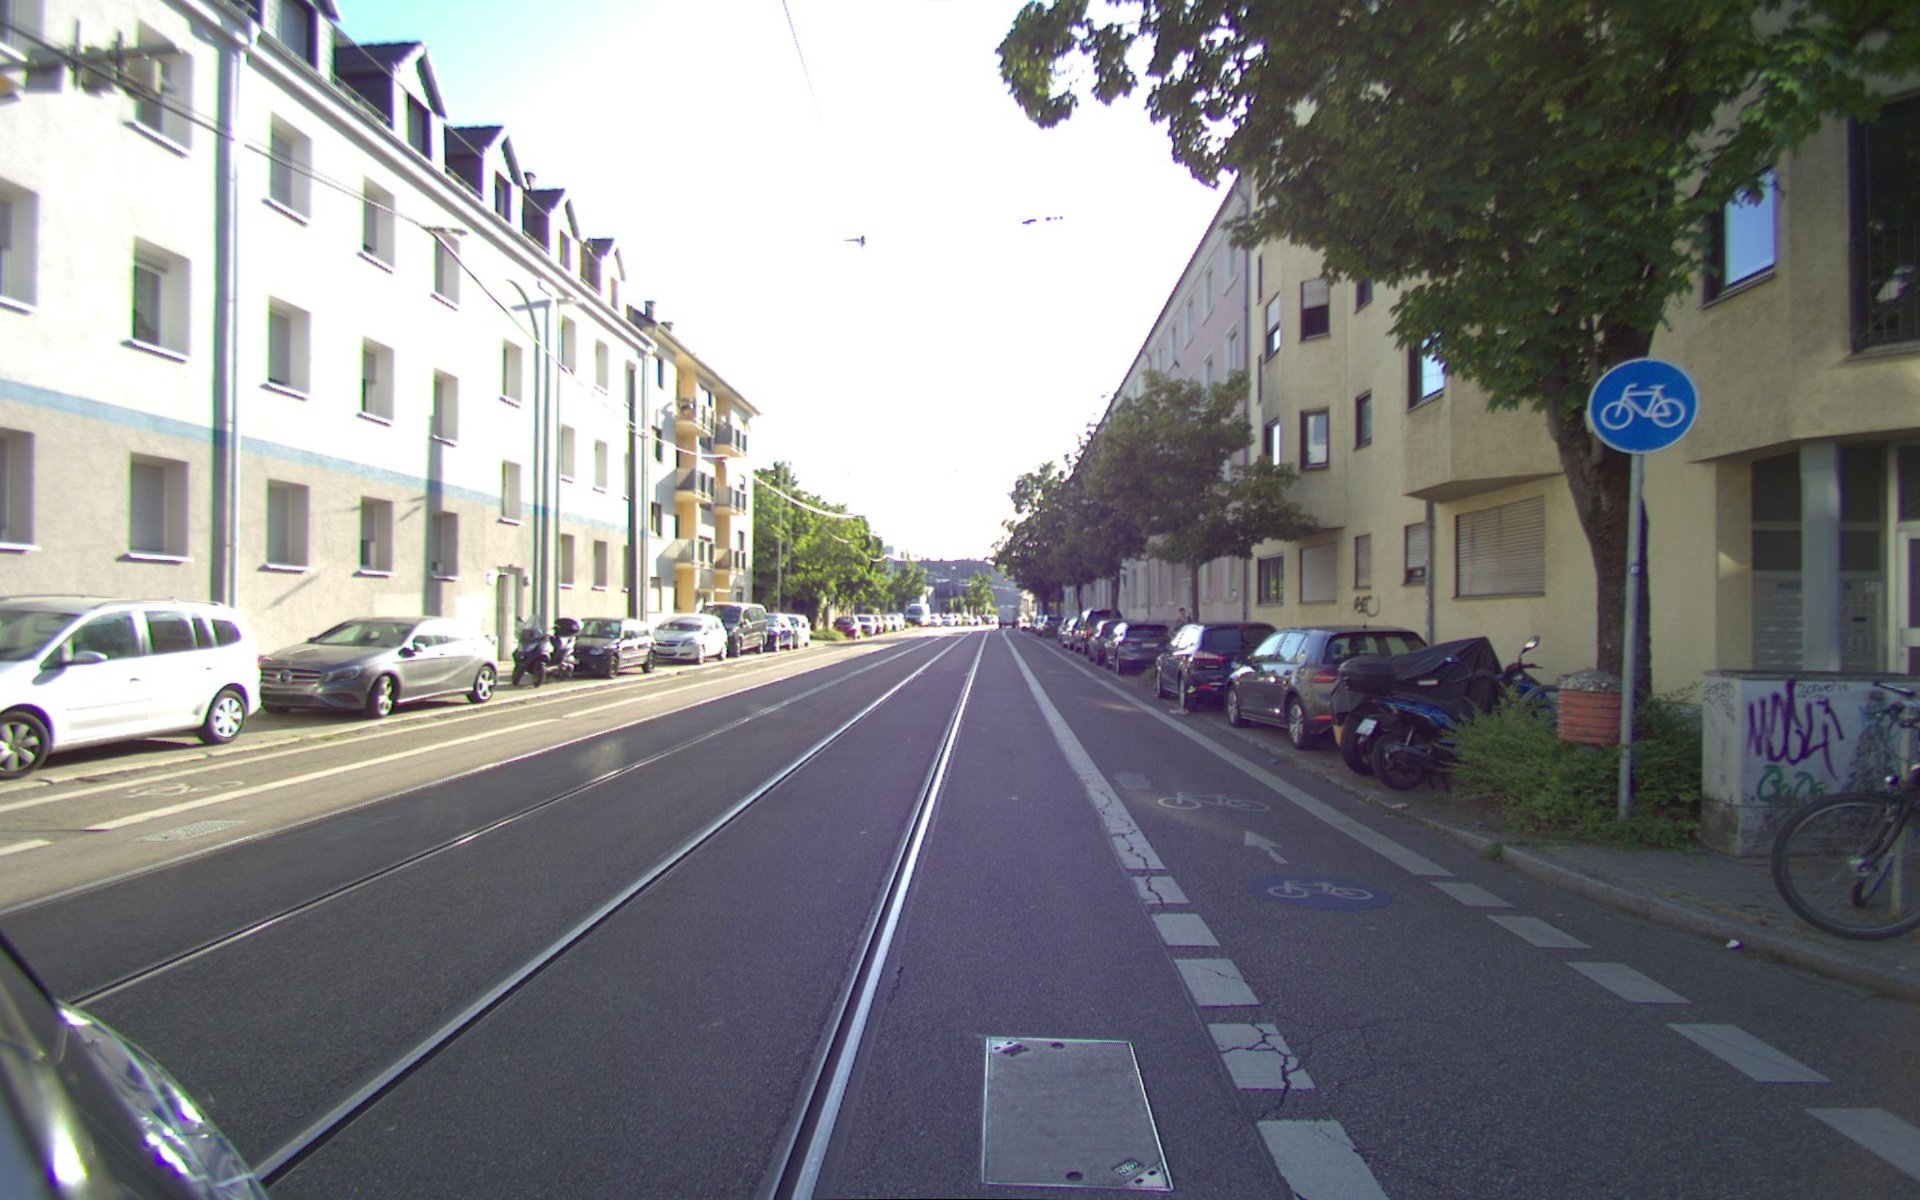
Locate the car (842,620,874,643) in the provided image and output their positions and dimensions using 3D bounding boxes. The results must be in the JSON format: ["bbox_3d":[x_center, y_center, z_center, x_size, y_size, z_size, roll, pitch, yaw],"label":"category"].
[{"bbox_3d":[-7.495,2.275,74.933,1.805,1.583,4.476,2,-1,1],"label":"car"}]

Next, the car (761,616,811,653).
[{"bbox_3d":[-8.015,1.565,46.861,1.537,1.554,3.629,2,-1,2],"label":"car"}]

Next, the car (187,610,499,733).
[{"bbox_3d":[-9.187,0.979,15.602,1.847,1.566,4.358,2,-1,5],"label":"car"}]

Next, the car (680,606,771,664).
[{"bbox_3d":[-8.496,1.225,37.175,1.910,1.935,4.998,2,-1,3],"label":"car"}]

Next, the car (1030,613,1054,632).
[{"bbox_3d":[7.189,1.961,88.590,1.665,1.563,4.049,0,-1,-1],"label":"car"}]

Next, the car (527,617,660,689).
[{"bbox_3d":[-8.824,1.221,24.710,1.593,1.583,3.899,2,-1,3],"label":"car"}]

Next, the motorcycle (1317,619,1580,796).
[{"bbox_3d":[4.208,0.899,8.803,1.945,1.458,0.721,0,-1,-4],"label":"motorcycle"}]

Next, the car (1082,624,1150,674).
[{"bbox_3d":[5.228,1.623,34.351,1.747,1.484,4.177,-3,-1,2],"label":"car"}]

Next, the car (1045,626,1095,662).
[{"bbox_3d":[5.053,2.002,47.003,1.746,1.484,4.858,-1,-1,0],"label":"car"}]

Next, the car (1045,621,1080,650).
[{"bbox_3d":[5.680,1.947,56.527,1.748,1.484,4.746,-1,-1,4],"label":"car"}]

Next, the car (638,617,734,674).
[{"bbox_3d":[-8.326,1.333,31.126,1.782,1.583,3.902,2,-1,1],"label":"car"}]

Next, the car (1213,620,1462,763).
[{"bbox_3d":[4.694,1.051,13.280,1.717,1.554,4.128,0,-1,0],"label":"car"}]

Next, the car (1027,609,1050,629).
[{"bbox_3d":[7.175,1.714,92.942,1.665,1.800,4.049,0,-1,-1],"label":"car"}]

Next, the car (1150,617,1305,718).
[{"bbox_3d":[4.587,1.084,18.066,1.748,1.554,4.728,0,-1,3],"label":"car"}]

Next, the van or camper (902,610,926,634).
[{"bbox_3d":[-5.275,2.483,116.098,2.065,2.583,5.686,-1,0,4],"label":"van or camper"}]

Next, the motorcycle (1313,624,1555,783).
[{"bbox_3d":[4.561,0.963,9.833,1.945,1.458,0.837,0,-1,-4],"label":"motorcycle"}]

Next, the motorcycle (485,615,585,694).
[{"bbox_3d":[-8.803,1.087,21.113,0.797,1.533,2.706,1,-1,3],"label":"motorcycle"}]

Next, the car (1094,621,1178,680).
[{"bbox_3d":[5.008,1.412,29.334,1.747,1.484,4.039,-3,-1,1],"label":"car"}]

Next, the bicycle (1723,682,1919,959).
[{"bbox_3d":[4.518,0.932,4.409,1.859,1.093,0.594,0,-1,5],"label":"bicycle"}]

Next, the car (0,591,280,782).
[{"bbox_3d":[-9.315,0.758,10.256,1.736,1.678,4.626,2,-1,-1],"label":"car"}]

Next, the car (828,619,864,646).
[{"bbox_3d":[-7.357,2.072,65.512,1.592,1.583,4.475,2,-1,2],"label":"car"}]

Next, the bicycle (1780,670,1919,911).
[{"bbox_3d":[5.204,0.911,4.966,1.788,1.093,0.594,0,-1,5],"label":"bicycle"}]

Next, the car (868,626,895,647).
[{"bbox_3d":[-6.548,3.059,85.247,1.805,1.583,4.476,2,-1,1],"label":"car"}]

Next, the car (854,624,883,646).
[{"bbox_3d":[-7.208,2.761,80.321,1.805,1.583,4.476,2,-1,1],"label":"car"}]

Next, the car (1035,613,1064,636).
[{"bbox_3d":[6.540,1.760,74.548,1.665,1.635,4.049,0,-1,-1],"label":"car"}]

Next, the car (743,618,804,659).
[{"bbox_3d":[-7.718,1.557,42.302,1.592,1.583,4.215,2,-1,2],"label":"car"}]
